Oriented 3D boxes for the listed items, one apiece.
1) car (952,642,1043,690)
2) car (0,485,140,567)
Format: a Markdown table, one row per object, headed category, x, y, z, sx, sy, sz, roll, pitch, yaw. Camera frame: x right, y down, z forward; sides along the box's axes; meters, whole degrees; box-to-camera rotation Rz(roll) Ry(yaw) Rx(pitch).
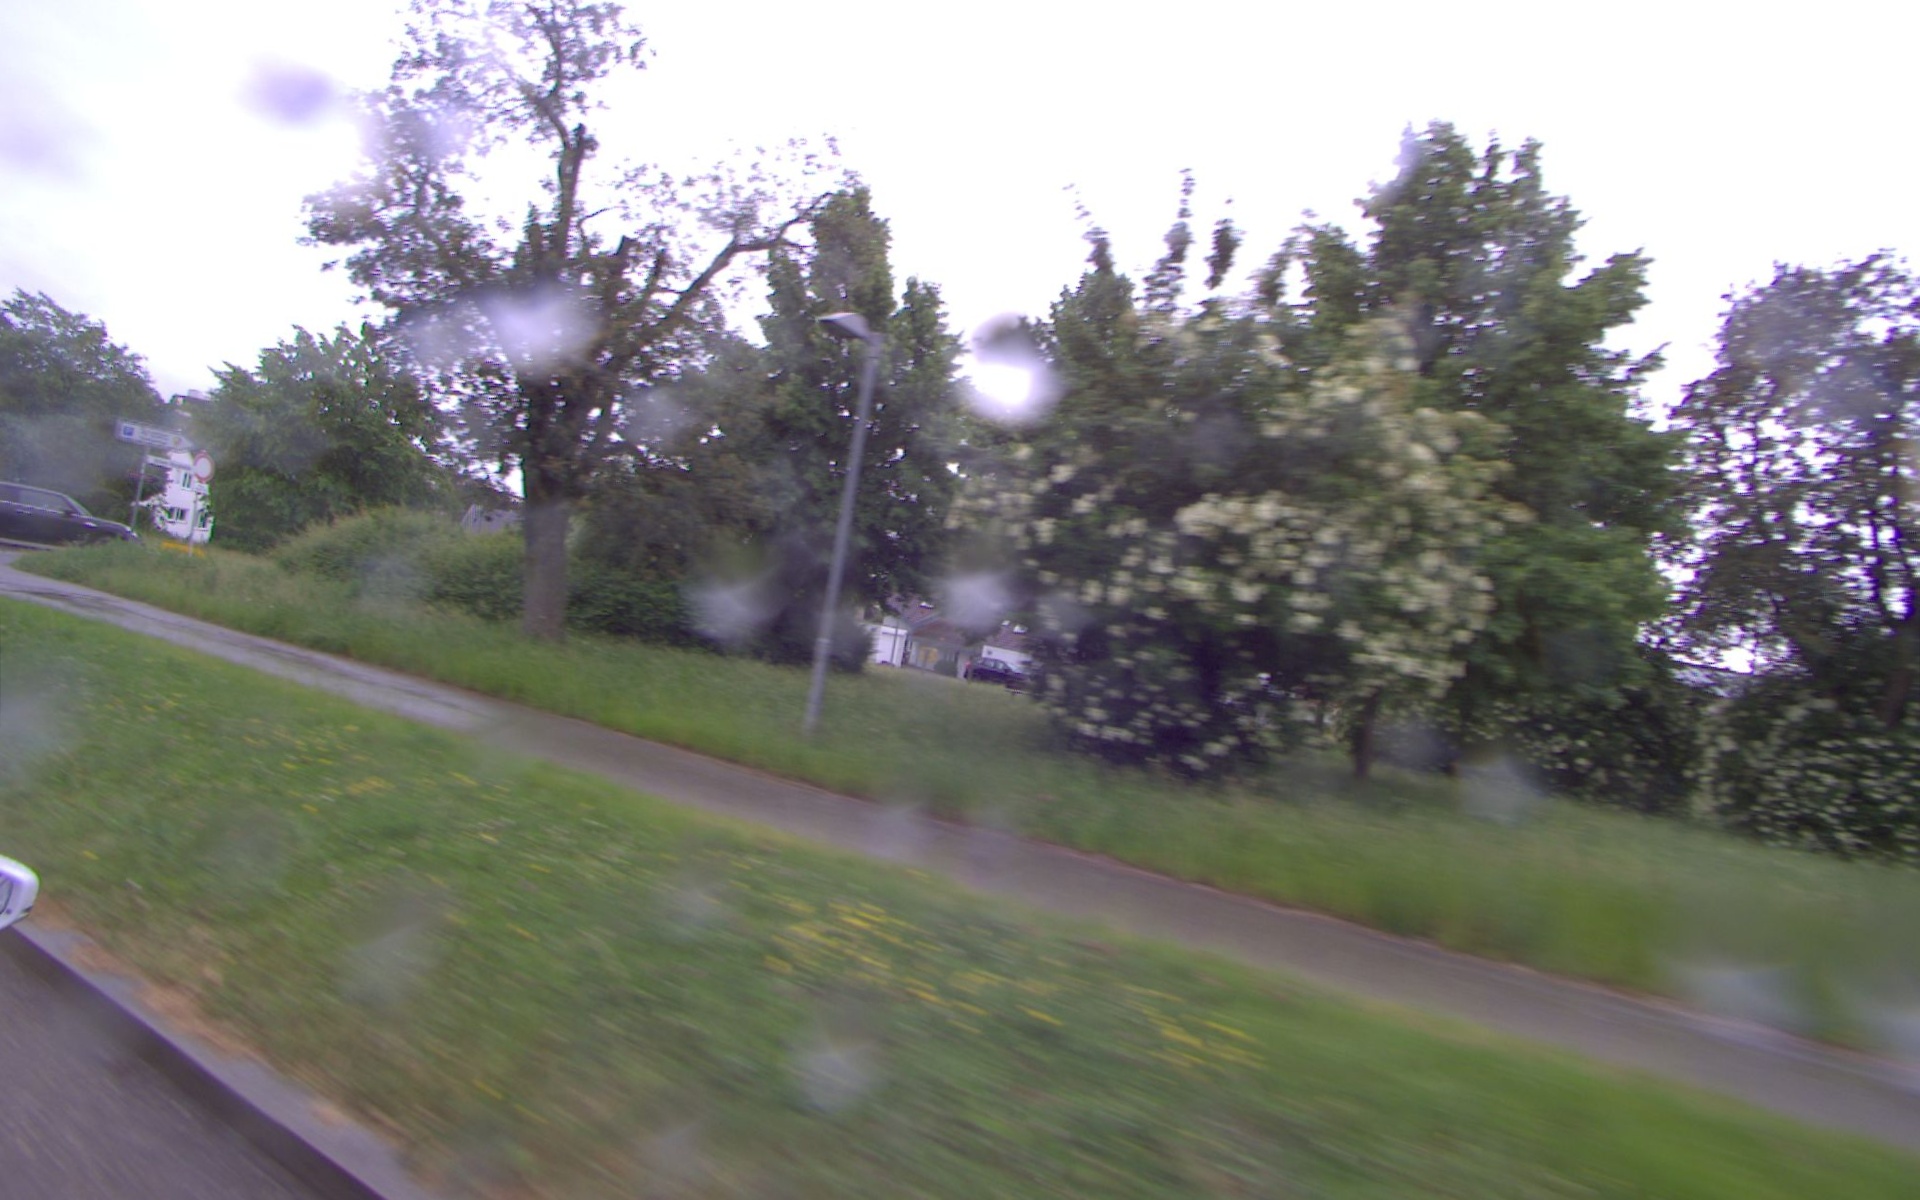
| category | x | y | z | sx | sy | sz | roll | pitch | yaw |
| --- | --- | --- | --- | --- | --- | --- | --- | --- | --- |
| car | 2.034 | 3.625 | 55.228 | 4.390 | 1.760 | 1.998 | 10 | 0 | 31 |
| car | -21.749 | -1.827 | 23.731 | 3.518 | 1.369 | 1.442 | 14 | -5 | -43 |
